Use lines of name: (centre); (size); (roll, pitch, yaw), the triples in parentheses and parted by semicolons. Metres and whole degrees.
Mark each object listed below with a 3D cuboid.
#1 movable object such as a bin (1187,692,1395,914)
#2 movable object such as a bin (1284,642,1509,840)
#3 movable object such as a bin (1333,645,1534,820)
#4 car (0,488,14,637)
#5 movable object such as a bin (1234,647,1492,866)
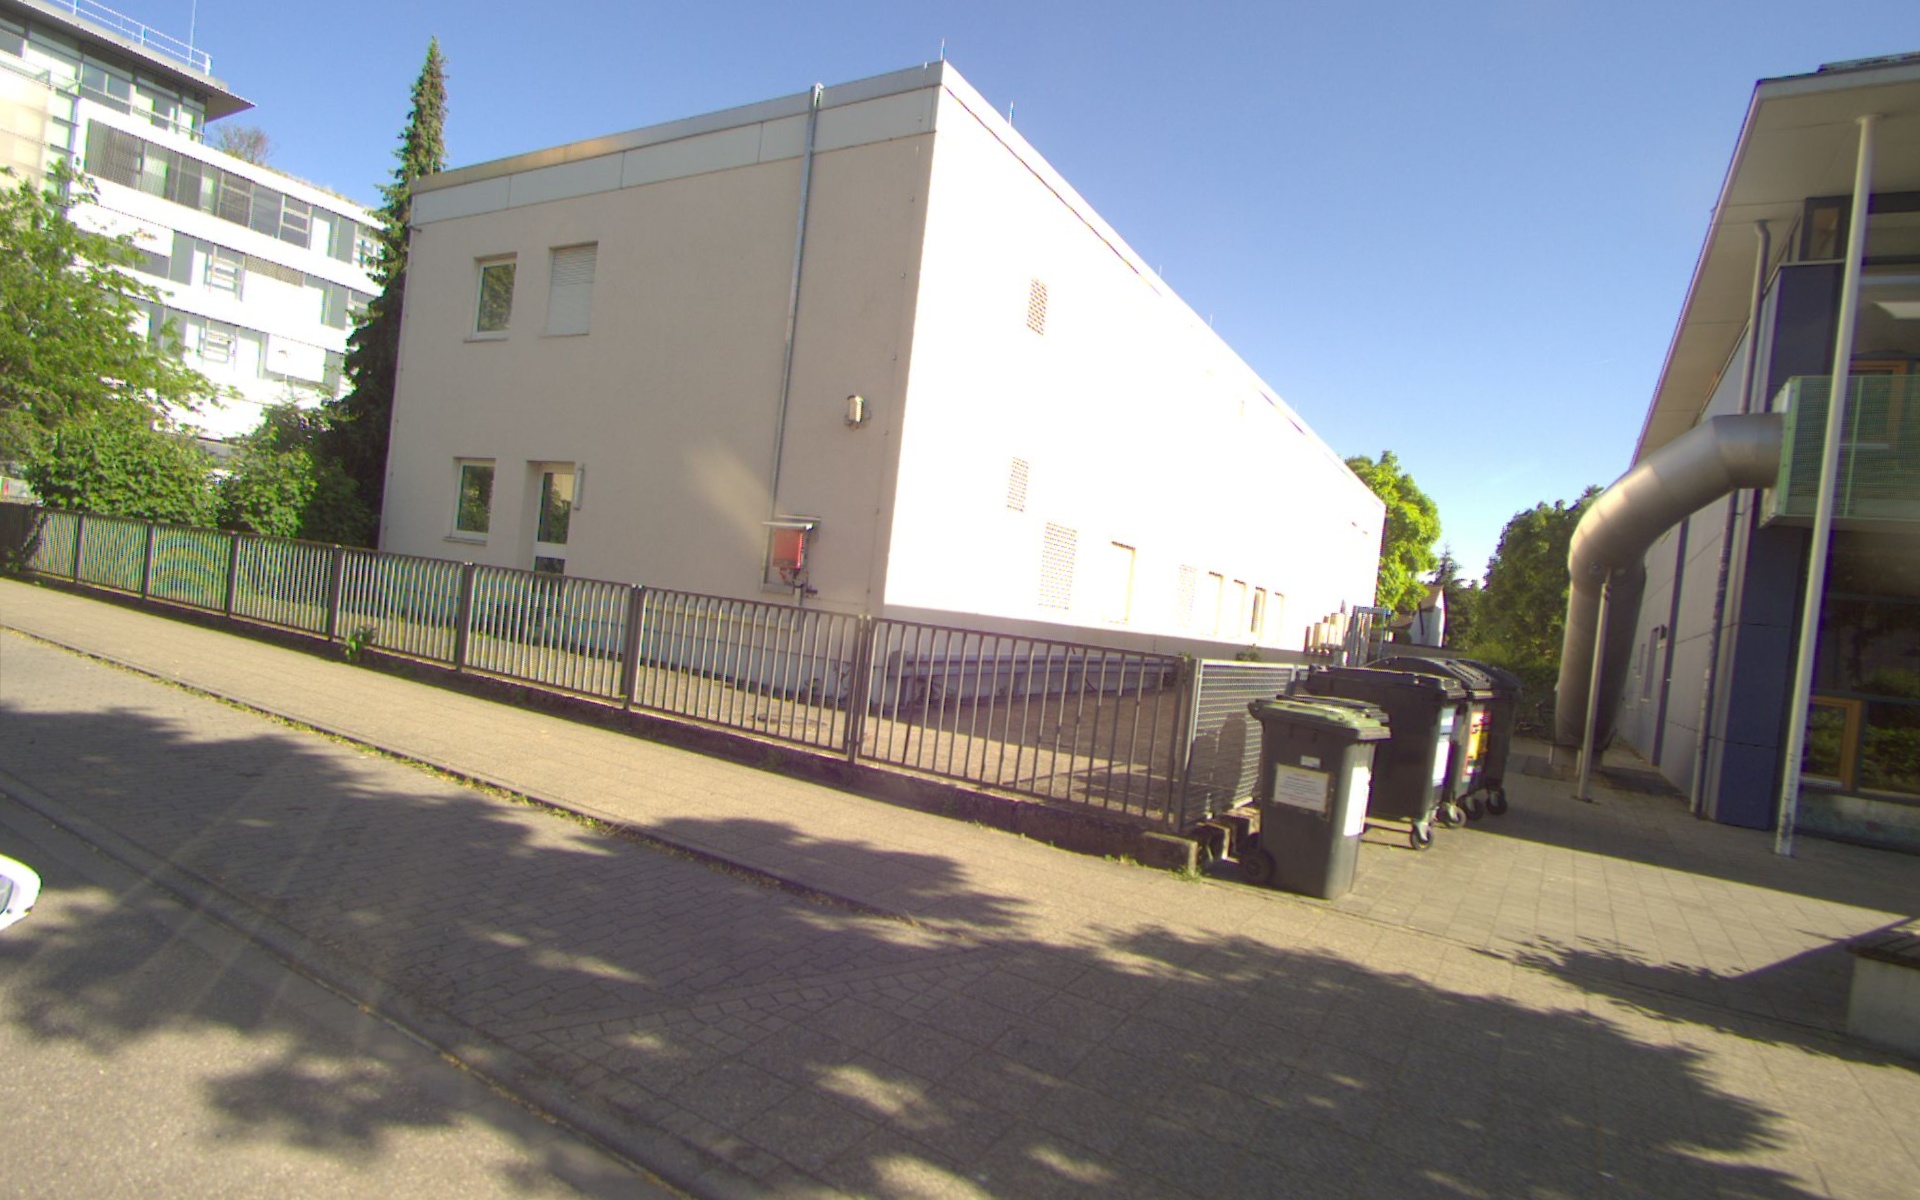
movable object such as a bin: (1.963, 1.146, 5.960); (0.963, 1.083, 0.633); (6, 0, 31)
movable object such as a bin: (4.067, 1.230, 9.339); (1.605, 1.466, 1.367); (7, 0, 32)
movable object such as a bin: (4.920, 1.308, 10.426); (1.605, 1.466, 1.331); (7, 0, 32)
car: (-11.968, -0.627, 10.615); (3.932, 1.535, 1.786); (7, 0, 30)
movable object such as a bin: (3.281, 1.175, 8.146); (1.605, 1.374, 1.367); (7, 0, 32)
